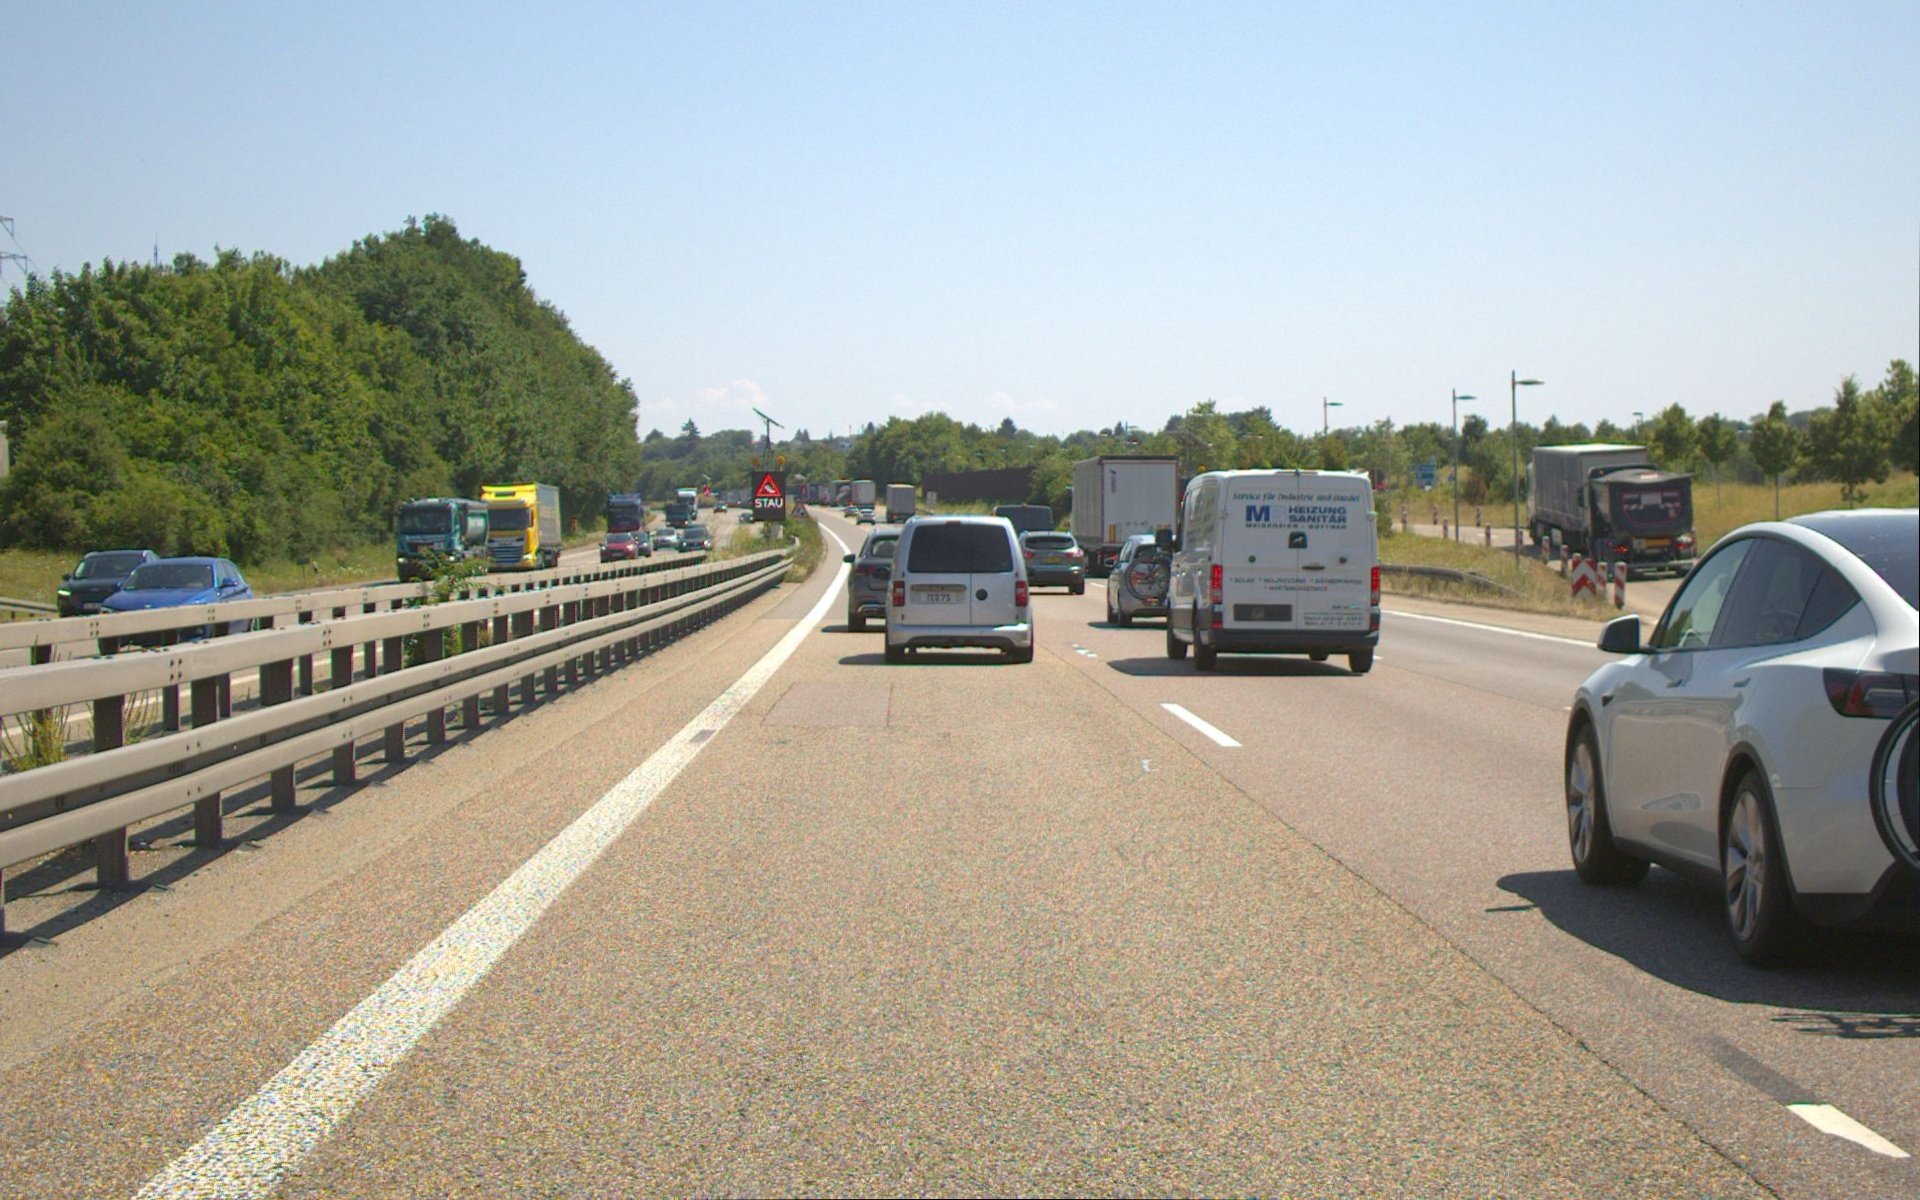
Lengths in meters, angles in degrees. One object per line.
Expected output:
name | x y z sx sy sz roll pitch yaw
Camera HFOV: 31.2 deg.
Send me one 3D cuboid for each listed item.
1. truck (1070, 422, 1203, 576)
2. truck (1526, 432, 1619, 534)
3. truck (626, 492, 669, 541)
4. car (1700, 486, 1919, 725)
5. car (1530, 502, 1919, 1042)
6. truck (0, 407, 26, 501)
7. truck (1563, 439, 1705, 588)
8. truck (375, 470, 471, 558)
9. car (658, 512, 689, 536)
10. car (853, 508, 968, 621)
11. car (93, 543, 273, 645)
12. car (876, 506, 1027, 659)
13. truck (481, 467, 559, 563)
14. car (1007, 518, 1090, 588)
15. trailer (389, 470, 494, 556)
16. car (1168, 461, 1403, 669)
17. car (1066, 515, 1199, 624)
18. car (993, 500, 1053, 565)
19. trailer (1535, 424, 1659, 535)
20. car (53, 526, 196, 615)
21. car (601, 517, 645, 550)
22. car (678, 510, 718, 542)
truck | 5.971 -3.438 118.725 3.788 4.982 12.519 1 1 0
truck | 25.218 -4.767 141.837 3.053 4.069 6.397 1 1 4
truck | -23.260 -6.205 256.112 2.996 3.546 3.118 -1 1 -2
car | 7.691 -0.015 28.666 1.950 1.831 4.179 -1 1 -2
car | 3.669 0.472 13.206 1.950 1.630 5.601 1 1 0
truck | -47.120 -7.057 164.908 2.995 4.325 14.553 -1 4 -9
truck | 19.870 -2.530 101.749 3.790 4.069 12.513 1 1 10
truck | -20.646 -3.316 132.341 2.914 3.289 5.331 -1 1 -1
car | -19.092 -5.069 229.531 1.782 1.525 3.884 -3 1 -2
car | -0.763 -0.590 54.915 1.745 1.695 4.089 -1 1 0
car | -11.845 -0.120 52.676 1.782 1.468 4.355 0 1 0
car | -0.116 -0.254 42.376 1.745 1.758 4.089 -1 1 0
truck | -20.123 -3.886 157.354 3.174 4.326 3.514 -1 1 -3
car | 2.199 -1.192 86.055 1.901 1.666 4.089 -1 1 0
trailer | -20.776 -3.487 138.241 2.914 3.289 9.711 -1 1 -1
car | 3.715 -0.441 40.206 2.181 2.246 5.364 0 1 0
car | 2.865 -0.546 57.839 1.976 1.727 4.089 -1 1 0
car | 1.899 -2.055 103.986 1.674 1.885 4.089 -1 1 0
trailer | 24.652 -4.591 133.763 3.053 4.069 14.257 1 1 4
car | -18.103 -0.671 74.710 2.157 1.793 4.514 -2 1 -3
car | -16.663 -3.307 169.970 1.782 1.525 4.385 -3 1 -2
car | -13.403 -3.790 176.167 1.782 1.619 4.000 -1 1 -1
